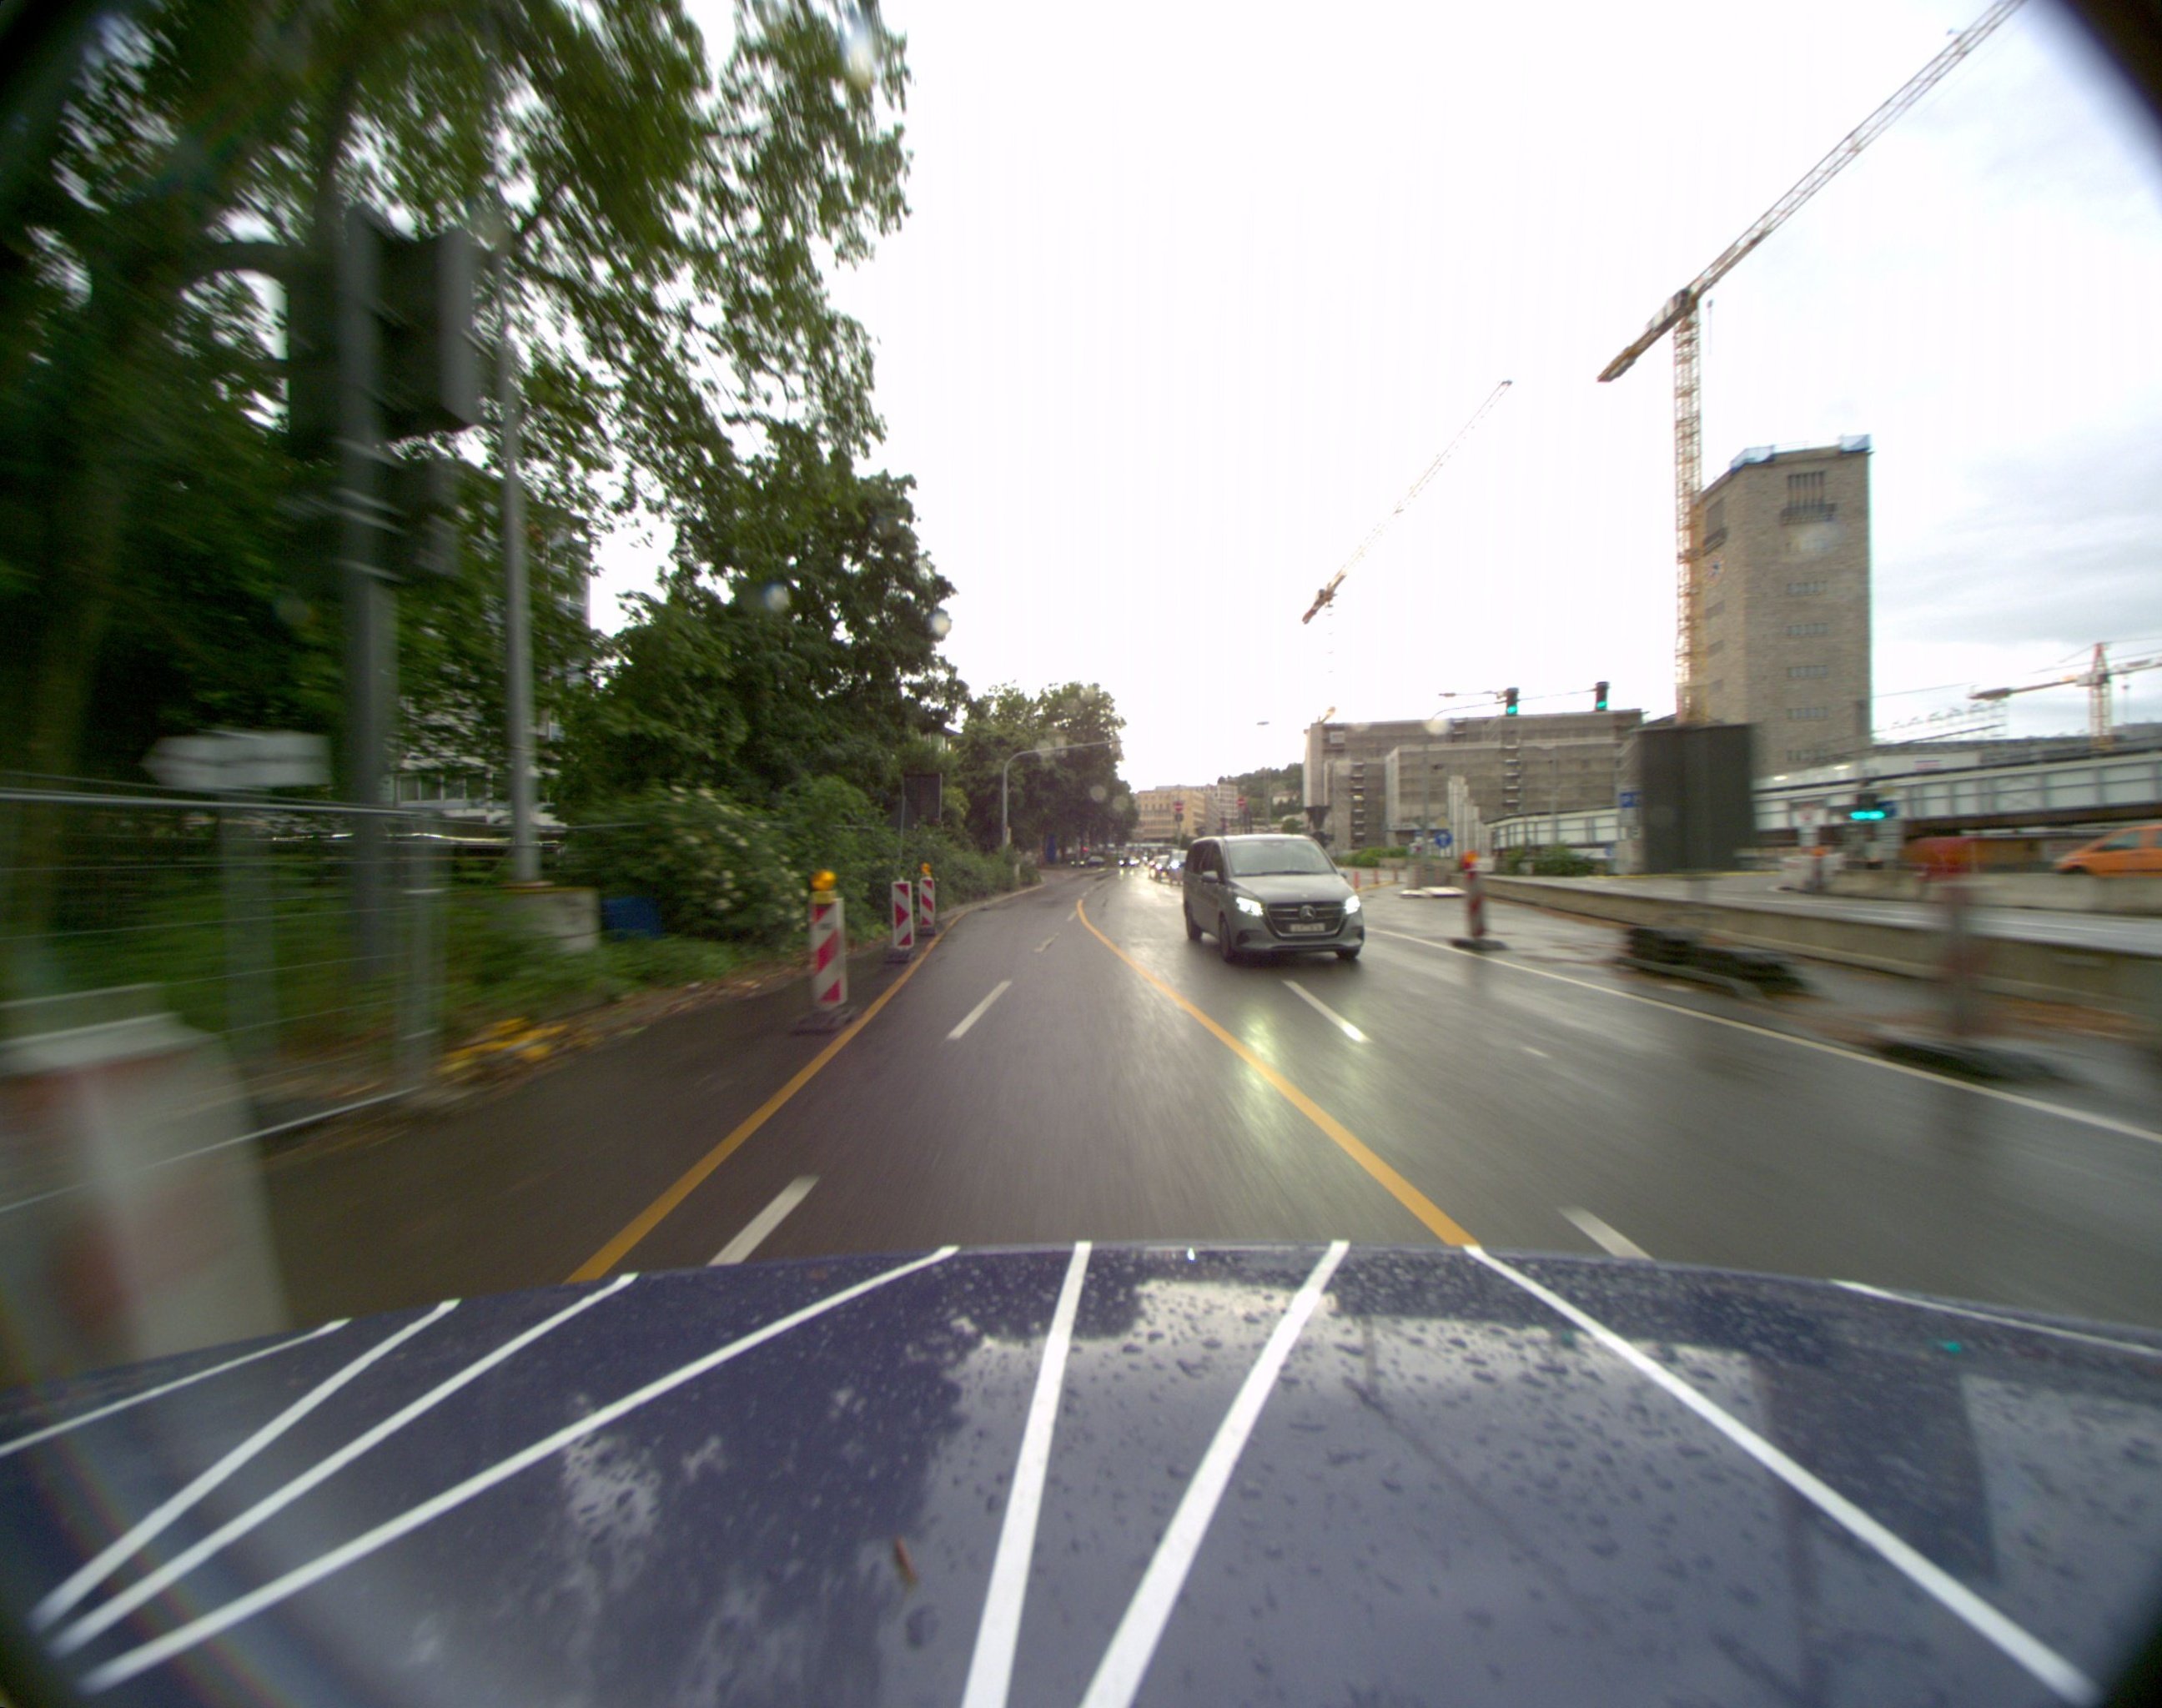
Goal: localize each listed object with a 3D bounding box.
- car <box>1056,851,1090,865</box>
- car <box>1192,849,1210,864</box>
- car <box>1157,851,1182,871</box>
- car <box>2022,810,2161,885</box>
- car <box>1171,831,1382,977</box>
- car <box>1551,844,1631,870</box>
[{"bbox_3d":[-1.023,0.468,93.832,3.995,1.753,2.001,0,1,5],"label":"car"},{"bbox_3d":[14.591,0.264,92.344,1.997,1.803,4.295,0,1,6],"label":"car"},{"bbox_3d":[7.699,0.568,65.688,1.811,1.455,4.921,10,2,8],"label":"car"},{"bbox_3d":[31.117,-0.166,21.540,1.998,2.088,5.582,1,1,2],"label":"car"},{"bbox_3d":[2.877,0.678,12.608,1.999,1.845,5.357,-2,0,-1],"label":"car"},{"bbox_3d":[41.046,0.263,61.302,2.003,2.002,5.014,0,0,-31],"label":"car"}]
